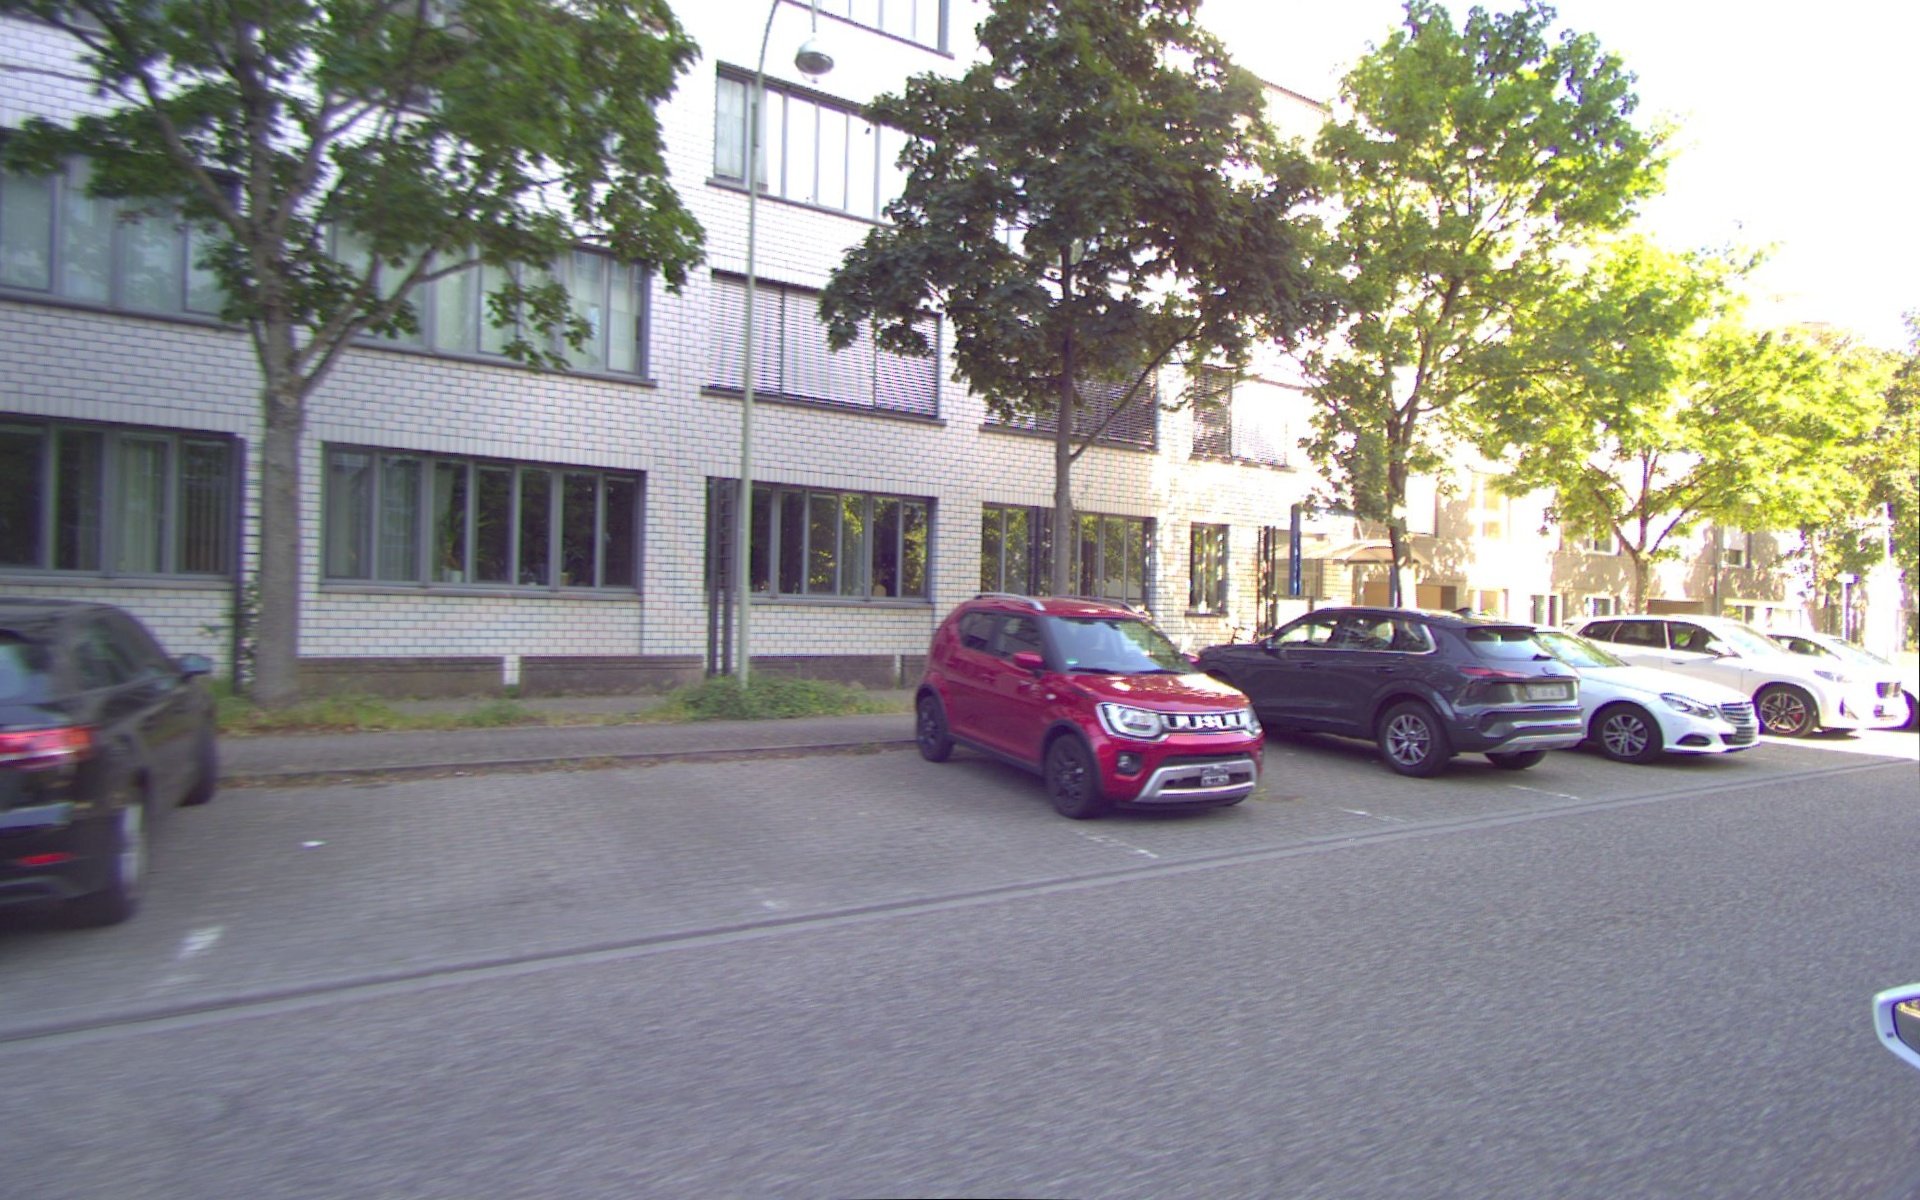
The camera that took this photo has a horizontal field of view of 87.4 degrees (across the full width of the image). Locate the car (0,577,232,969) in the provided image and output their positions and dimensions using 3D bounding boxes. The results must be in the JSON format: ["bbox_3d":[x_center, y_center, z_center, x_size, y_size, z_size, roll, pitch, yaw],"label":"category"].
[{"bbox_3d":[-4.993,0.623,5.158,1.668,1.433,3.802,0,2,-31],"label":"car"}]

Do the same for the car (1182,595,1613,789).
[{"bbox_3d":[4.502,0.822,11.013,1.781,1.642,4.095,2,0,-28],"label":"car"}]

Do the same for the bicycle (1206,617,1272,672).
[{"bbox_3d":[6.133,0.982,22.072,1.608,1.191,0.336,2,0,-30],"label":"bicycle"}]

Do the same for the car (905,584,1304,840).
[{"bbox_3d":[1.002,0.738,8.650,1.633,1.690,3.559,2,0,-27],"label":"car"}]

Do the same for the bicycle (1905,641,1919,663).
[{"bbox_3d":[46.872,2.534,49.062,2.167,1.061,0.435,2,0,-30],"label":"bicycle"}]

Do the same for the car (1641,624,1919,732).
[{"bbox_3d":[14.034,1.199,16.615,1.779,1.499,4.237,2,-1,-30],"label":"car"}]

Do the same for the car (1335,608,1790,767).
[{"bbox_3d":[7.232,0.921,12.560,1.921,1.471,4.481,1,1,-33],"label":"car"}]

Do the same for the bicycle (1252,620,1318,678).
[{"bbox_3d":[6.966,1.048,21.488,1.608,1.191,0.336,2,0,-30],"label":"bicycle"}]

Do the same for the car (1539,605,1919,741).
[{"bbox_3d":[11.483,0.991,15.277,1.929,1.623,4.206,3,0,-29],"label":"car"}]
